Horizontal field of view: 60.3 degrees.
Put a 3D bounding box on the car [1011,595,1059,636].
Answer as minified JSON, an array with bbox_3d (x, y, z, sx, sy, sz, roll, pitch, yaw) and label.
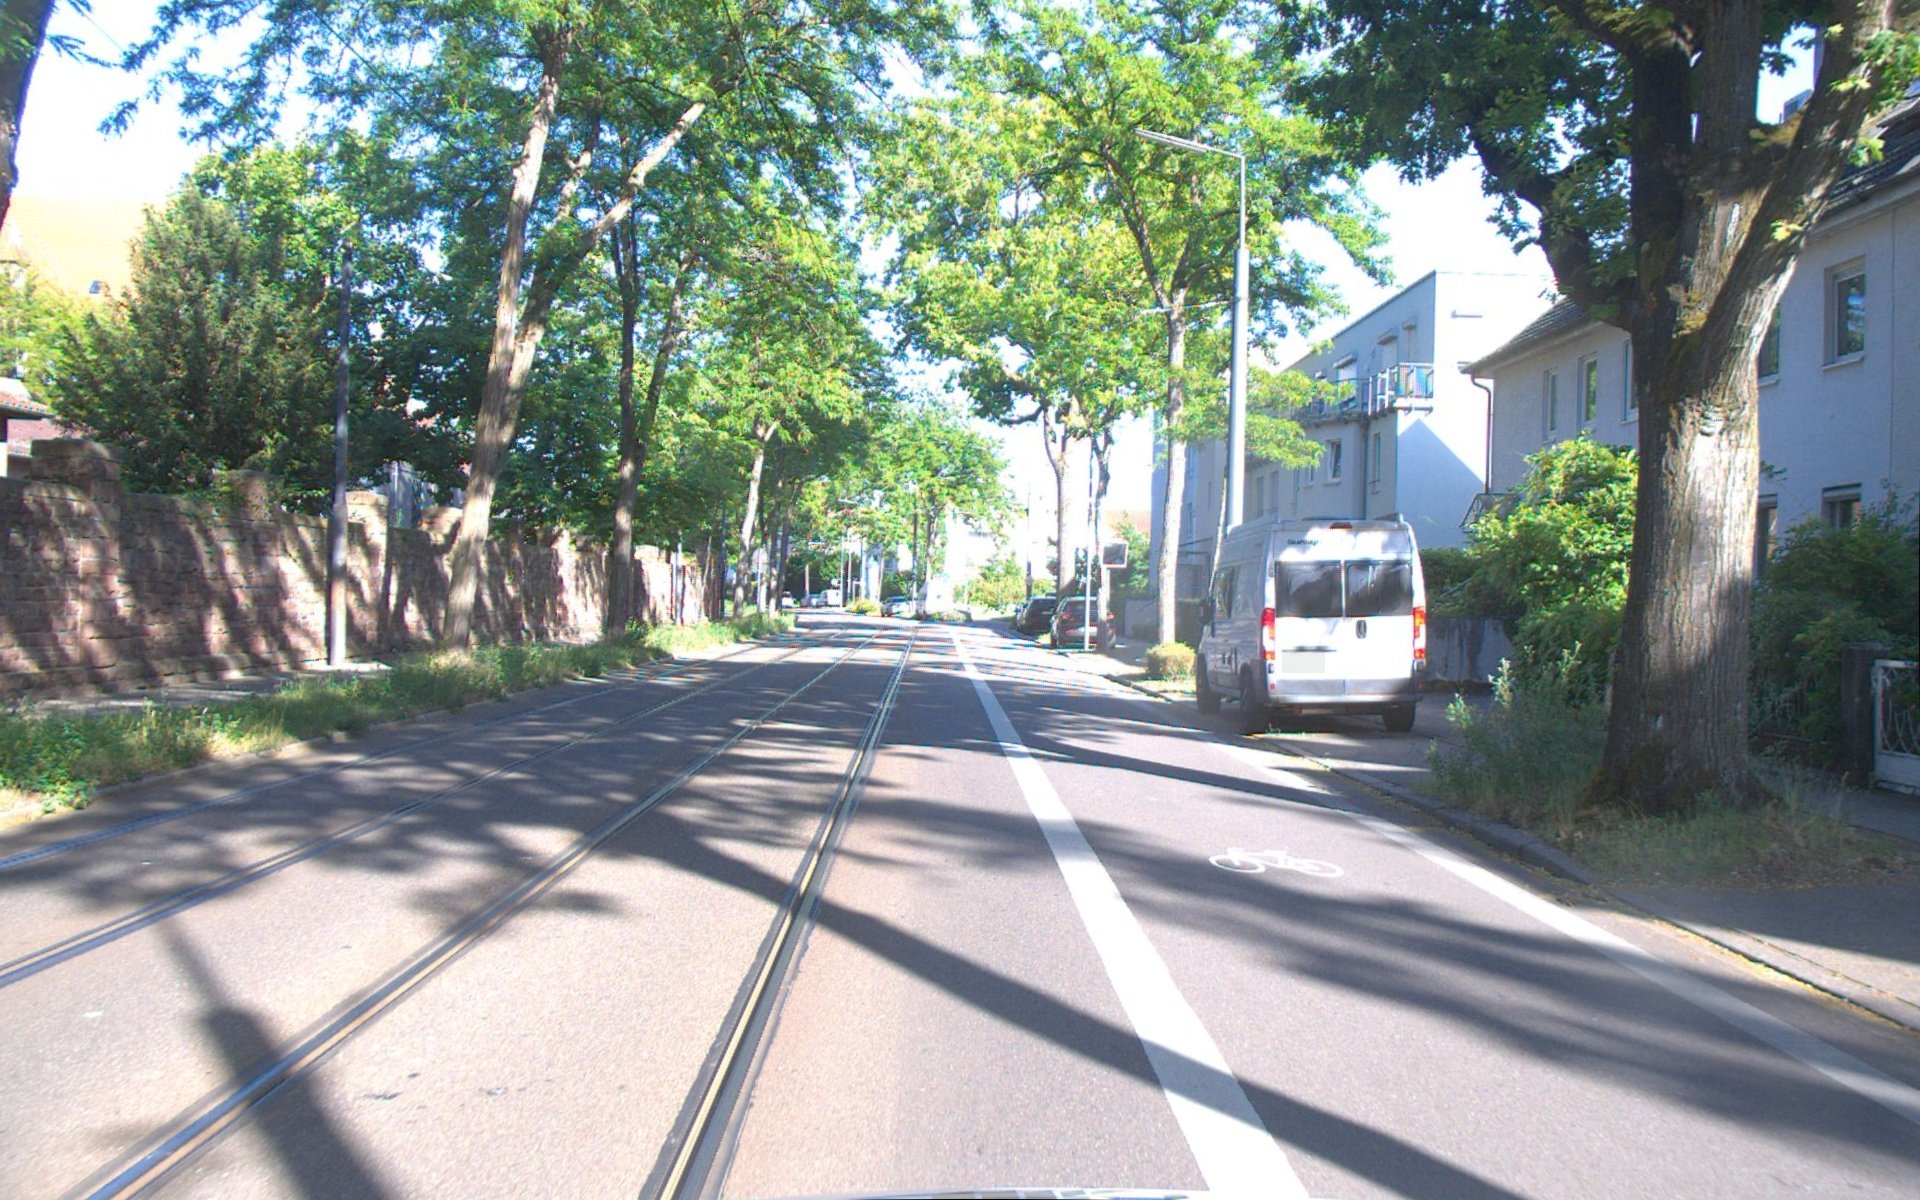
[{"bbox_3d":[3.254,0.630,71.609,1.961,1.704,4.394,-1,0,3],"label":"car"}]

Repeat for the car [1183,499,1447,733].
[{"bbox_3d":[4.501,0.184,21.980,2.200,2.700,5.584,0,0,-1],"label":"car"}]

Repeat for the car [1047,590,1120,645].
[{"bbox_3d":[3.980,0.548,54.084,1.962,1.704,4.391,-1,0,-1],"label":"car"}]

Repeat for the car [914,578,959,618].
[{"bbox_3d":[-1.581,-0.121,107.473,1.960,2.501,4.493,1,0,-14],"label":"car"}]

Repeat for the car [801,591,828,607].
[{"bbox_3d":[-15.907,-0.144,180.630,1.972,1.704,4.151,-1,0,-18],"label":"car"}]

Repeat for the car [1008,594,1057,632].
[{"bbox_3d":[3.365,0.588,77.338,1.962,1.704,4.391,-1,0,-2],"label":"car"}]

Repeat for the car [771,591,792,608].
[{"bbox_3d":[-17.558,-0.055,162.822,1.829,1.704,4.169,1,0,-4],"label":"car"}]

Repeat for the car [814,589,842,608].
[{"bbox_3d":[-13.932,-0.125,174.924,1.972,1.943,4.369,-1,0,-18],"label":"car"}]

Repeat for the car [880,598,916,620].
[{"bbox_3d":[-4.717,0.662,125.229,1.968,1.588,4.377,1,0,-13],"label":"car"}]
